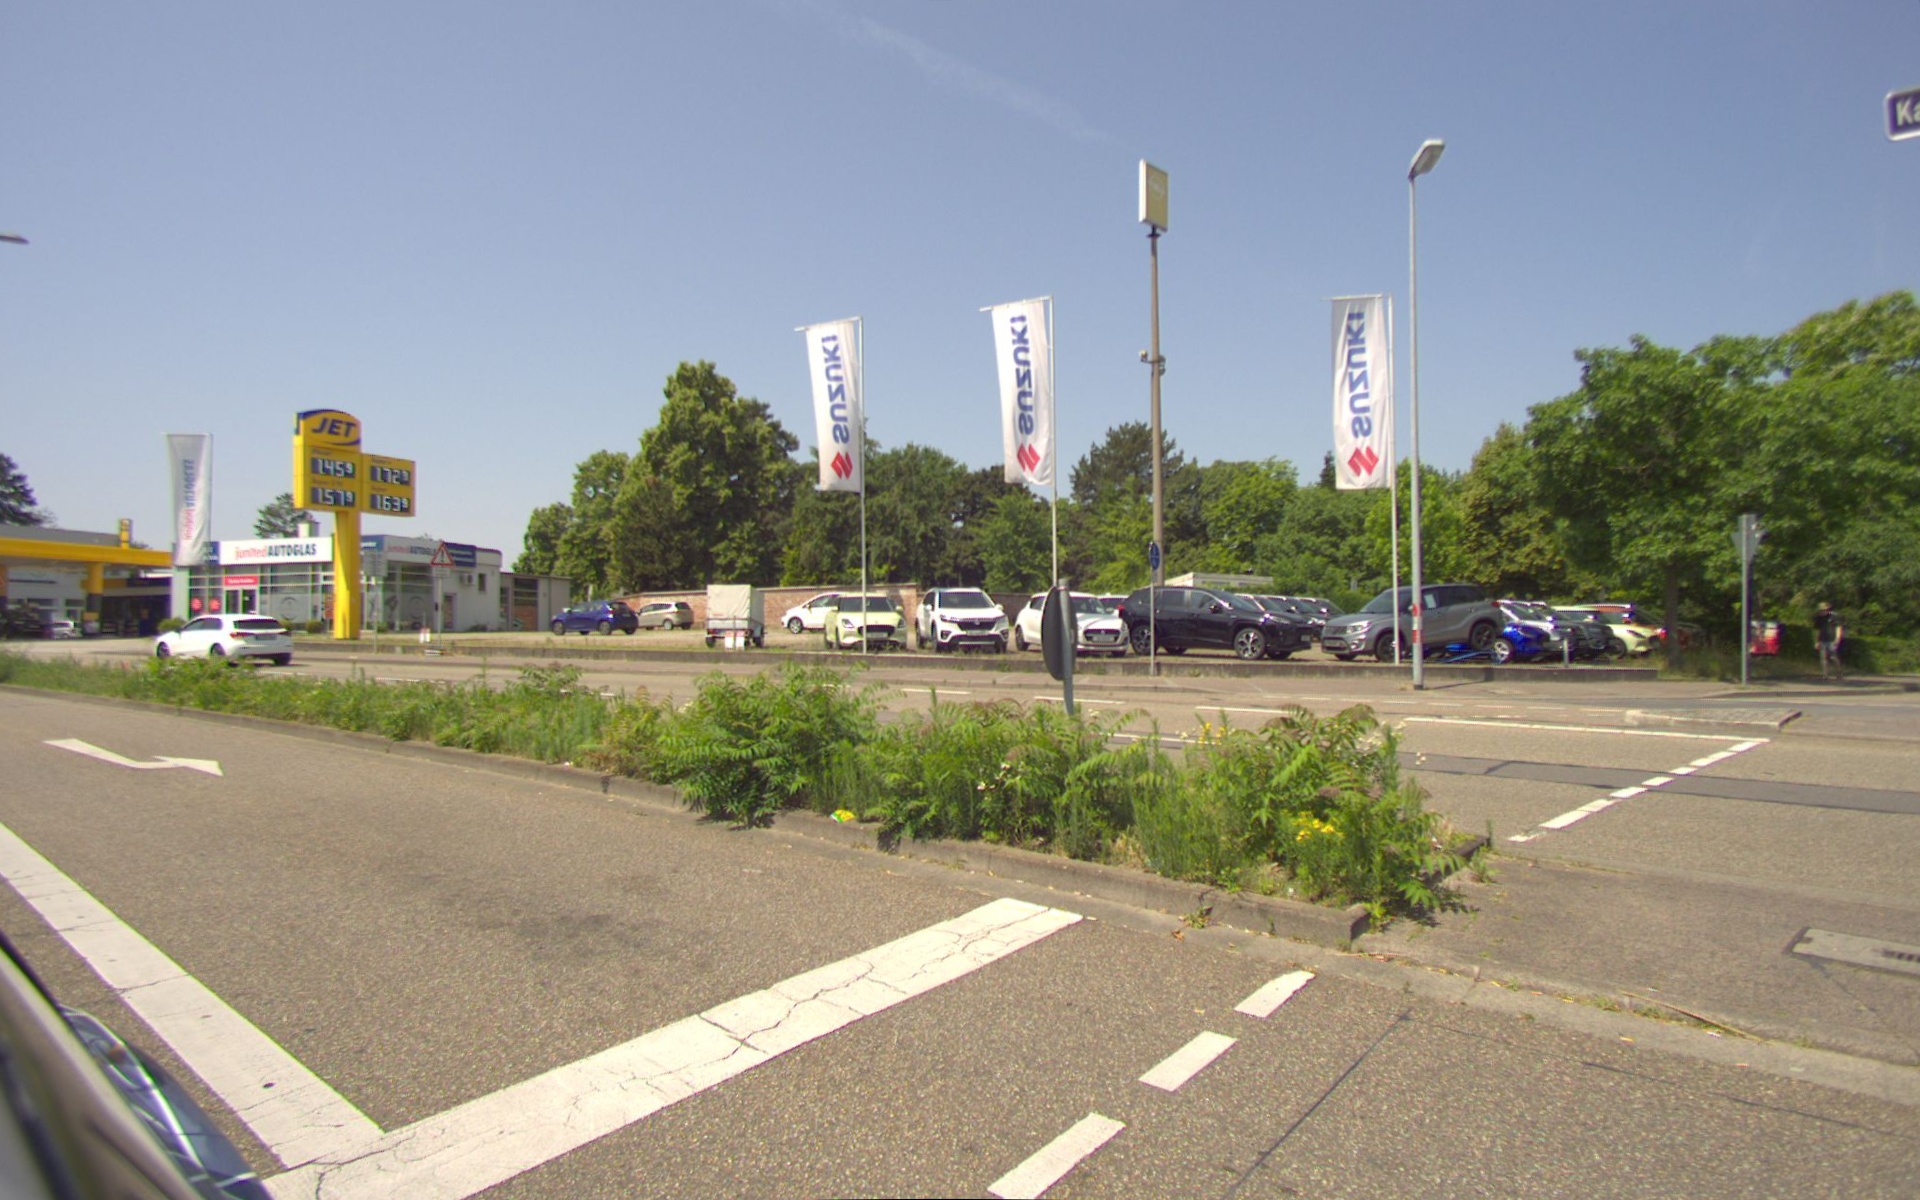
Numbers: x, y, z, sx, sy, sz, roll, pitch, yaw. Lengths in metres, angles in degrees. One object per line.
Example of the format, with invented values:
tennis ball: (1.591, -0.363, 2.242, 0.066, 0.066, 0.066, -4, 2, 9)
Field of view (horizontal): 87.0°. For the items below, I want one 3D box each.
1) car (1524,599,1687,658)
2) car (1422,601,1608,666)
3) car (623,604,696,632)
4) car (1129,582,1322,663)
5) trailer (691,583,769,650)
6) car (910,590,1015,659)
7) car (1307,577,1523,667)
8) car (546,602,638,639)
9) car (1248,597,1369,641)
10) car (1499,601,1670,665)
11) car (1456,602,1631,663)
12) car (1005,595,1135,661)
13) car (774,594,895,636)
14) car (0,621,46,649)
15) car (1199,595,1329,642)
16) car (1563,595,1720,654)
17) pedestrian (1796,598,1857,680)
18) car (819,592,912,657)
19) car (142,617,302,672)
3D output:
car: (19.823, 0.834, 31.158, 3.998, 1.696, 1.843, -1, 0, 41)
car: (14.530, 0.827, 26.606, 3.998, 1.548, 1.771, -1, 0, 41)
car: (-16.349, 0.990, 55.002, 3.606, 1.517, 1.608, -1, -1, 22)
car: (6.174, 0.469, 23.770, 4.011, 1.737, 1.821, 0, 0, 40)
trailer: (-6.192, 0.434, 27.431, 1.669, 1.717, 2.436, -1, 0, -3)
car: (-0.027, 0.562, 25.093, 1.887, 1.552, 3.971, -1, 0, -10)
car: (10.443, 0.511, 23.318, 4.238, 1.916, 1.834, 1, 0, -13)
car: (-15.957, 0.891, 43.883, 3.606, 1.517, 1.682, -1, -1, 22)
car: (13.214, 0.698, 38.473, 3.998, 1.548, 1.771, -1, 0, 41)
car: (18.157, 0.913, 29.512, 3.998, 1.720, 1.881, -1, 0, 41)
car: (16.214, 0.871, 28.222, 3.997, 1.582, 1.817, -1, -2, 40)
car: (2.518, 0.624, 24.184, 1.687, 1.443, 3.974, 1, 0, -16)
car: (-5.166, 0.641, 41.659, 4.722, 1.662, 1.683, -1, -1, 20)
car: (-55.340, 2.012, 58.788, 4.183, 1.554, 1.645, -1, 0, 21)
car: (10.583, 0.612, 35.345, 3.998, 1.548, 1.771, -1, 0, 41)
car: (21.939, 0.753, 32.647, 3.998, 1.763, 1.973, -1, 0, 41)
pedestrian: (20.479, 0.910, 23.941, 0.978, 1.885, 0.807, -1, 0, 32)
car: (-2.495, 0.569, 25.944, 1.728, 1.521, 3.831, -1, 0, -15)
car: (-20.487, 1.236, 28.086, 4.246, 1.436, 1.857, -1, -3, 27)
